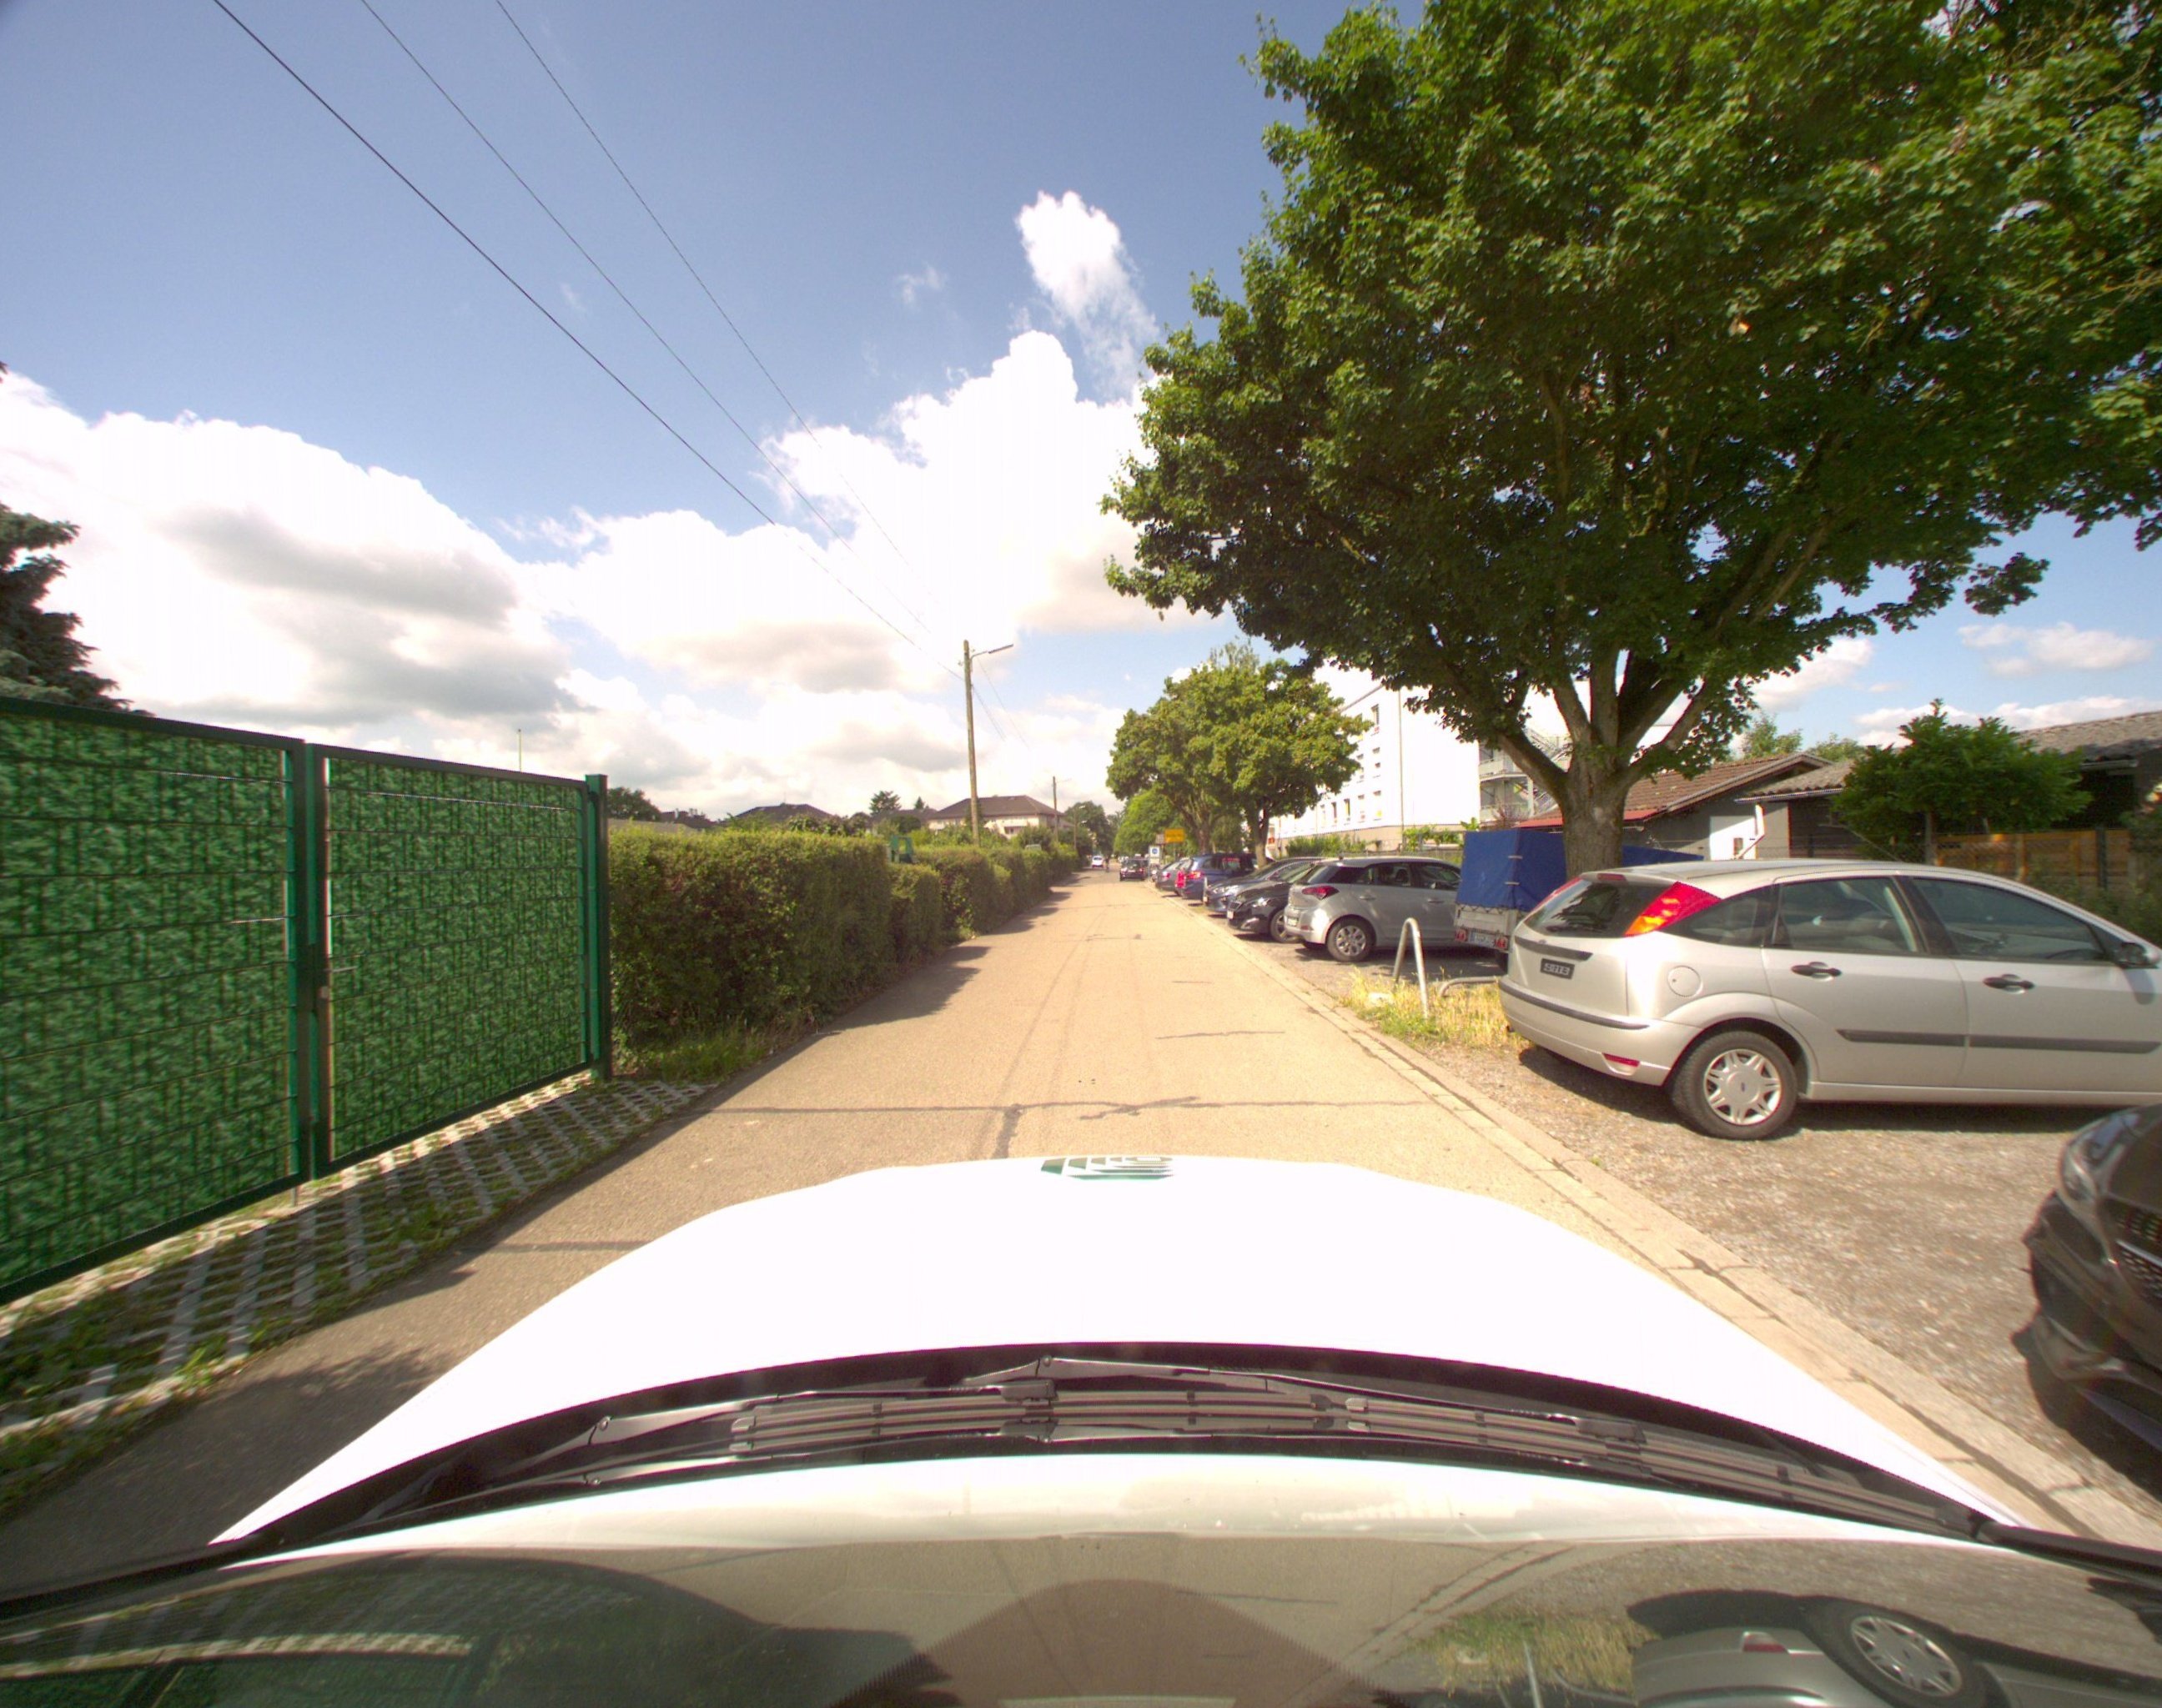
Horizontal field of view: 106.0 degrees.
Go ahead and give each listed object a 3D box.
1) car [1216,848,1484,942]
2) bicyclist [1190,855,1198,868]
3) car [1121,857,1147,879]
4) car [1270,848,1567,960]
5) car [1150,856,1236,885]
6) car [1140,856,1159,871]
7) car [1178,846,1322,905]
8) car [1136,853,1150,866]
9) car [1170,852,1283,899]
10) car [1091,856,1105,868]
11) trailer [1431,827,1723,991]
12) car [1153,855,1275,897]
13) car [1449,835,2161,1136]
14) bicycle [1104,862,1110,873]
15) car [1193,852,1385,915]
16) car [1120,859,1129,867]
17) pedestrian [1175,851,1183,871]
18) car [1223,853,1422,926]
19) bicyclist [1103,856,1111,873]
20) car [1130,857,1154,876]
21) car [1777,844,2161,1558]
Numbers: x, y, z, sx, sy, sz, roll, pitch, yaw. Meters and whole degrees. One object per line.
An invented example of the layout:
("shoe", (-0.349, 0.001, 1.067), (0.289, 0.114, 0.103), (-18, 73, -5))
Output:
("car", (4.747, 0.705, 14.896), (4.287, 1.594, 2.000), (0, -1, 1))
("bicyclist", (15.567, 0.975, 112.619), (0.777, 1.785, 0.900), (0, -1, 34))
("car", (3.728, 0.968, 56.821), (1.655, 1.506, 4.007), (0, -1, 7))
("car", (4.917, 0.702, 12.246), (3.713, 1.540, 1.848), (0, -1, -2))
("car", (5.890, 0.864, 43.052), (4.337, 1.392, 1.721), (-2, -1, 5))
("car", (6.600, 0.906, 78.816), (1.656, 1.435, 3.544), (0, -1, 3))
("car", (5.168, 0.654, 25.379), (4.137, 1.637, 1.880), (-2, -1, 3))
("car", (9.429, 0.837, 123.399), (2.049, 1.926, 4.546), (0, -1, 4))
("car", (5.217, 0.765, 29.632), (3.795, 1.532, 1.762), (-2, -1, 1))
("car", (2.676, 1.249, 125.425), (1.894, 1.814, 4.005), (0, -1, 4))
("trailer", (5.568, 0.568, 9.351), (2.443, 1.720, 1.517), (0, 0, -2))
("car", (5.148, 0.848, 32.044), (4.533, 1.578, 1.808), (0, -1, 0))
("car", (4.762, 0.668, 5.134), (4.046, 1.511, 1.960), (0, -1, 4))
("bicycle", (2.893, 1.521, 90.309), (0.515, 1.150, 1.829), (-3, -1, 4))
("car", (5.091, 0.718, 20.397), (4.320, 1.492, 1.976), (0, -1, 1))
("car", (10.911, 2.156, 204.691), (1.986, 2.014, 4.001), (0, -1, 1))
("pedestrian", (8.909, 0.625, 73.963), (0.606, 1.745, 0.725), (0, -1, 15))
("car", (5.143, 0.731, 17.713), (3.799, 1.492, 1.903), (0, -1, 1))
("bicyclist", (2.882, 1.173, 90.245), (0.656, 1.852, 1.044), (-3, -1, 4))
("car", (5.100, 1.020, 67.898), (1.653, 1.552, 3.646), (0, -1, 9))
("car", (4.229, 0.708, 1.674), (4.053, 1.455, 1.869), (0, -1, -1))
